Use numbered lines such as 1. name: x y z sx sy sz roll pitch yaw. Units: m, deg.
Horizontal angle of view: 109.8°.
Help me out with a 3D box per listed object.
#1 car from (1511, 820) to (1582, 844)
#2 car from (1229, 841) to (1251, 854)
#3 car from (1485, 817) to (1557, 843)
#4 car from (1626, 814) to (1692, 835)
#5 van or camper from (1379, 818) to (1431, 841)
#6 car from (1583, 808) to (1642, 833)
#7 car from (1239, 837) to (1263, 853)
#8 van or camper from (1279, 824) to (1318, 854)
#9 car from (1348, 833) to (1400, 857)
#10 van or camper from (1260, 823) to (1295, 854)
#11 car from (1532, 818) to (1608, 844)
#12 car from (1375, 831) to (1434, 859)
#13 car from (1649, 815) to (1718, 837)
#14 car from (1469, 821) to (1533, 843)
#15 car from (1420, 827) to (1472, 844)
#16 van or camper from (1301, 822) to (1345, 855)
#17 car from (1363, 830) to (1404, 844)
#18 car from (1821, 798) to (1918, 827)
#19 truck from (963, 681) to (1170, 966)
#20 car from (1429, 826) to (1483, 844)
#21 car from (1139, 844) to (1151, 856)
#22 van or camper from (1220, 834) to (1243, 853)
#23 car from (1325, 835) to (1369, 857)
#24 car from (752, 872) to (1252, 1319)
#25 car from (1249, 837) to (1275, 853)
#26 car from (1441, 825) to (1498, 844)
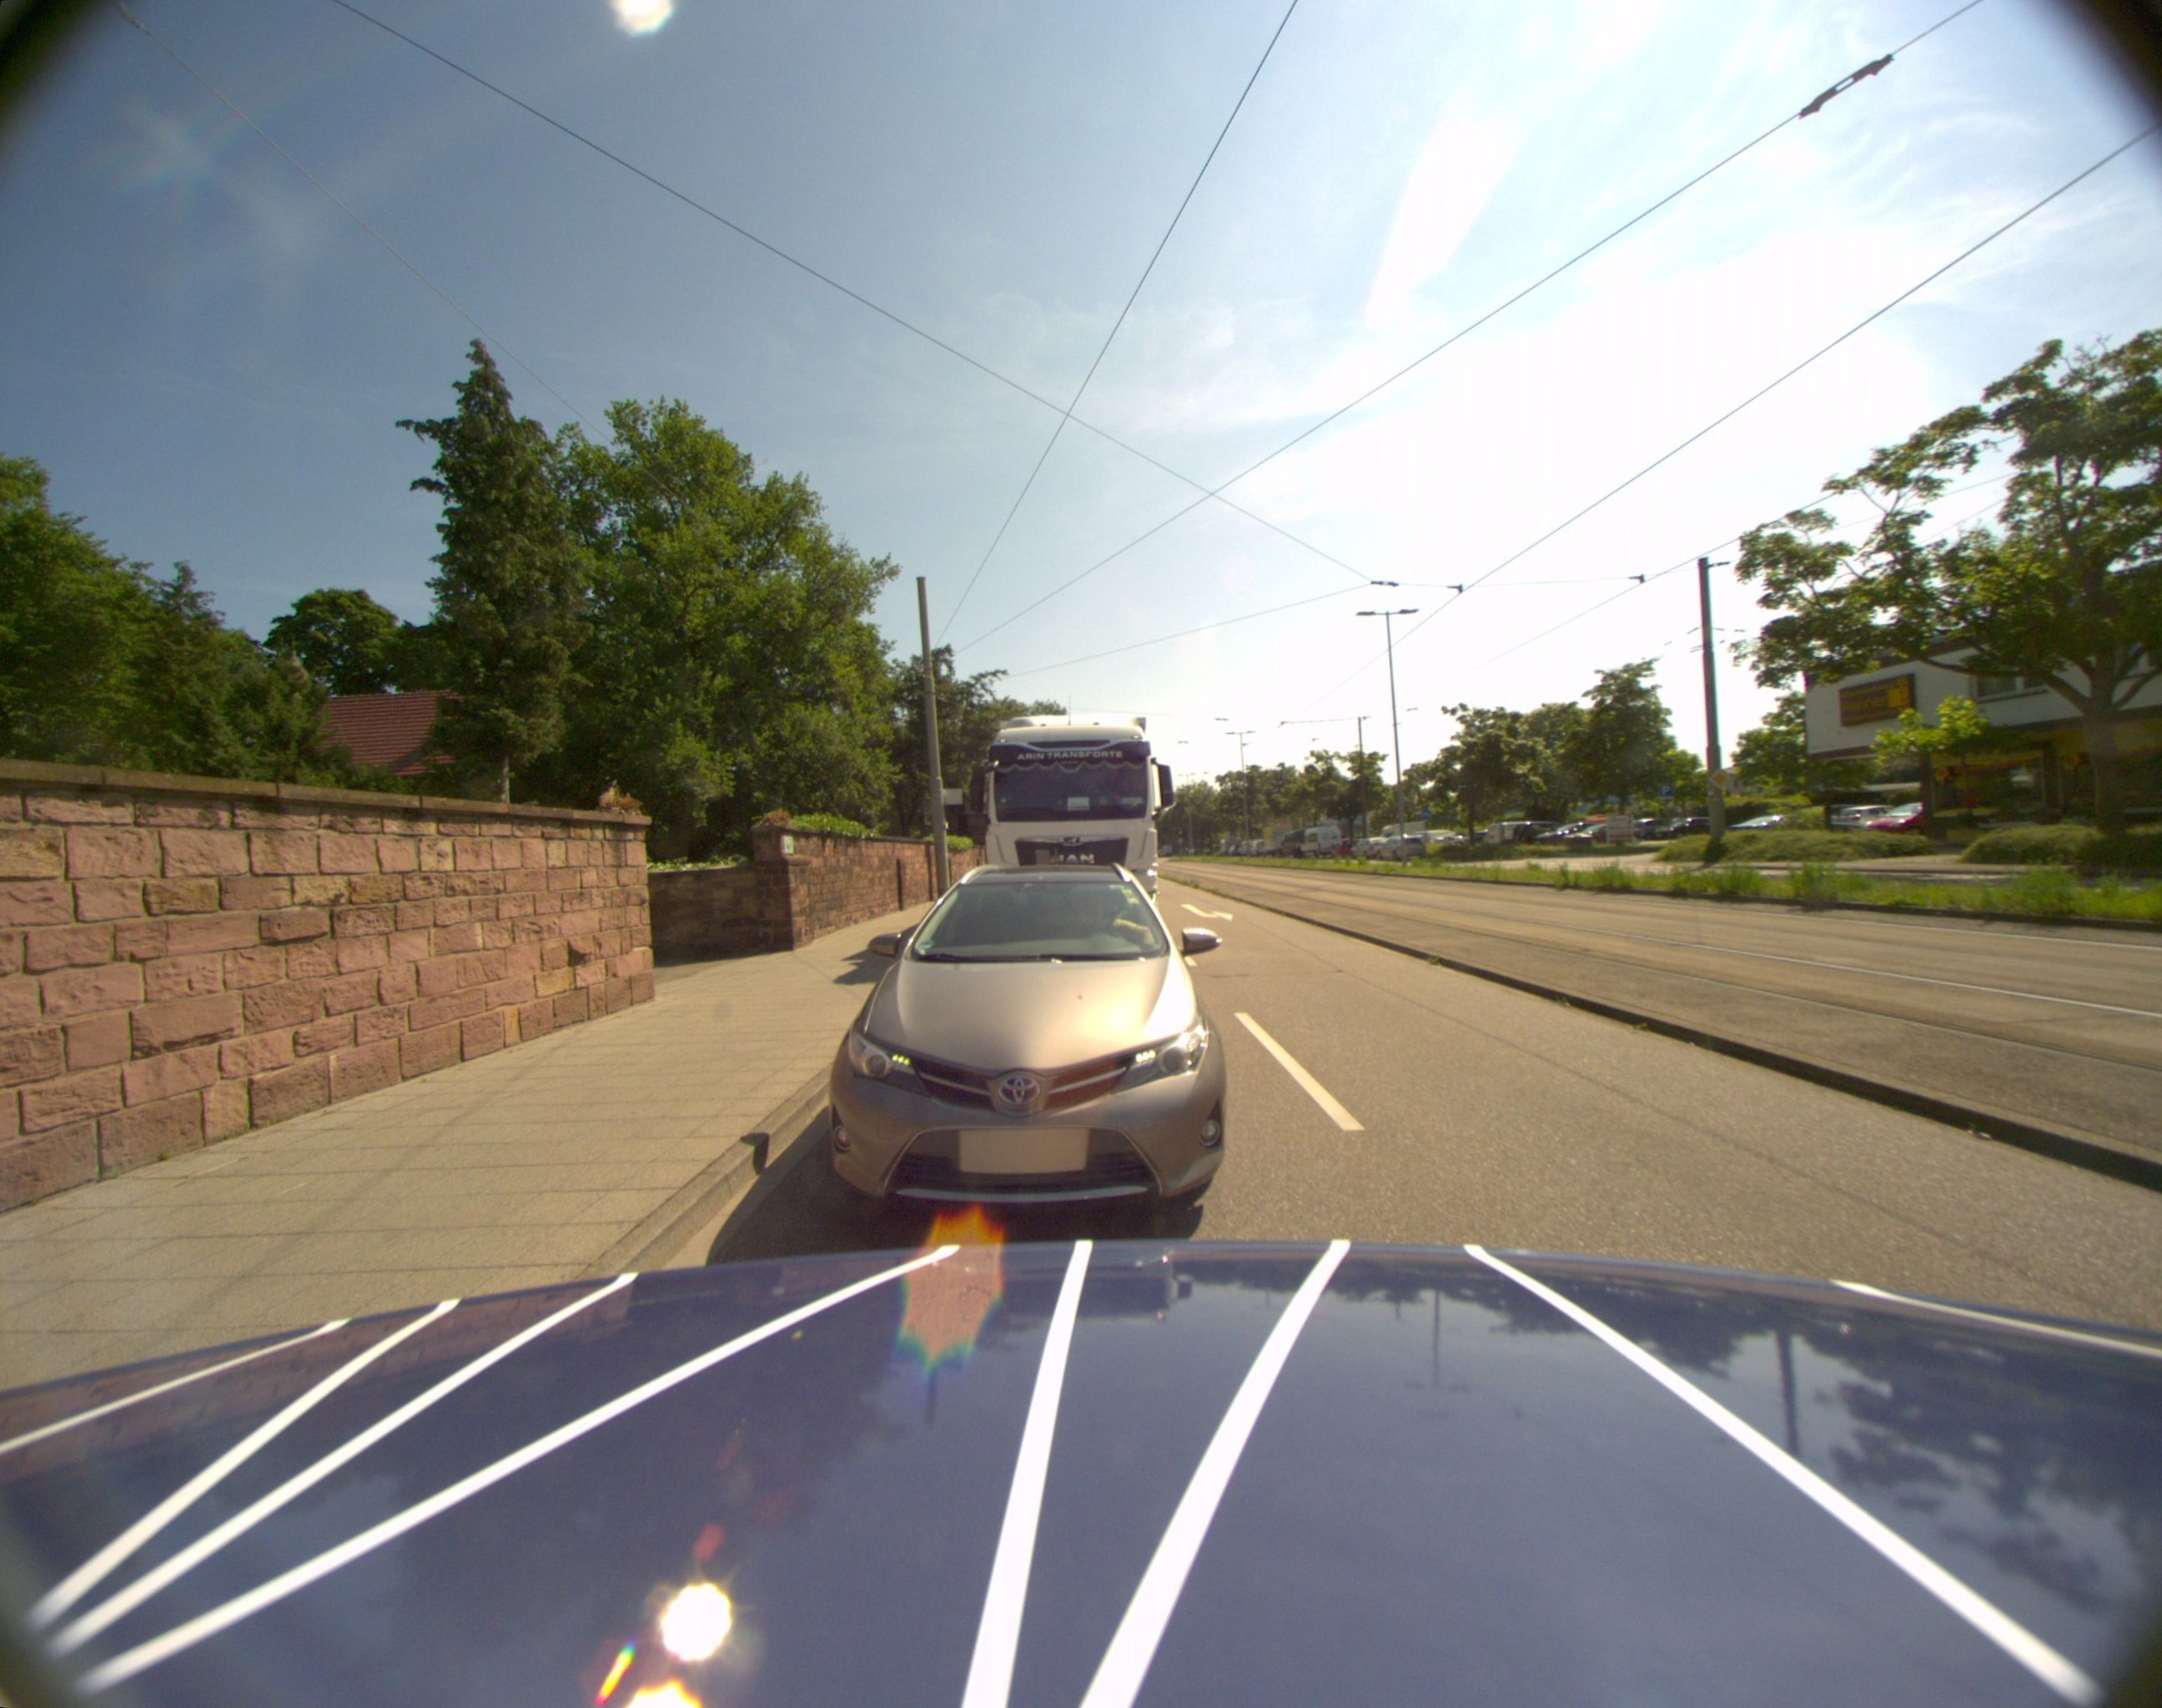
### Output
1. car: 30.705 -1.439 50.195 3.624 1.353 1.712 -3 1 -1
2. car: 20.924 -0.884 100.295 1.893 1.551 4.232 -3 0 0
3. car: 30.454 -1.637 52.662 3.749 1.560 1.951 -3 1 -1
4. car: 43.732 -2.226 57.525 3.624 1.353 1.712 -3 1 -1
5. van or camper: 44.868 -3.378 105.375 6.081 2.715 2.299 -3 1 3
6. car: 43.650 -2.721 62.460 3.624 1.767 1.712 -3 1 -1
7. car: 21.060 -1.083 94.290 1.893 1.757 4.232 -3 0 0
8. van or camper: 20.223 -1.339 70.850 2.040 2.617 4.839 -3 0 0
9. car: 20.539 -0.628 53.449 1.893 1.551 4.285 -3 0 0
10. van or camper: 20.297 -1.605 78.740 2.128 2.967 5.281 -3 0 0
11. car: 30.501 -1.401 47.453 3.624 1.353 1.712 -3 1 -1
12. car: 20.414 -0.534 48.163 1.892 1.486 4.285 -6 0 2
13. car: 43.537 -2.032 54.937 3.624 1.353 1.712 -3 1 -1
14. car: 30.382 -1.576 54.988 3.624 1.277 1.712 -3 1 -1
15. car: 31.697 -1.617 66.022 3.624 1.274 1.712 -3 1 -1
16. van or camper: 20.276 -1.261 63.794 2.040 2.617 4.839 -3 0 0
17. car: 32.007 -1.791 80.538 3.624 1.274 1.712 -3 1 -1
18. car: 43.792 -2.292 42.227 3.624 1.353 1.712 -3 1 -1
19. truck: -0.134 -0.442 15.036 2.746 3.852 9.110 -2 0 1
20. car: 31.444 -1.580 63.688 3.624 1.274 1.712 -3 1 -1
21. car: 9.800 -0.613 116.175 1.818 1.725 4.022 -2 1 5
22. van or camper: 21.238 -1.468 107.205 2.114 2.604 5.451 -2 1 1
23. car: 20.555 -0.622 58.835 1.893 1.486 4.232 -3 0 0
24. car: -0.250 0.917 4.932 1.742 1.424 4.462 -2 0 1
25. car: 20.786 -1.023 87.354 1.893 1.724 4.232 -3 0 0
26. car: 31.075 -1.536 60.843 3.624 1.274 1.812 -3 0 -1
